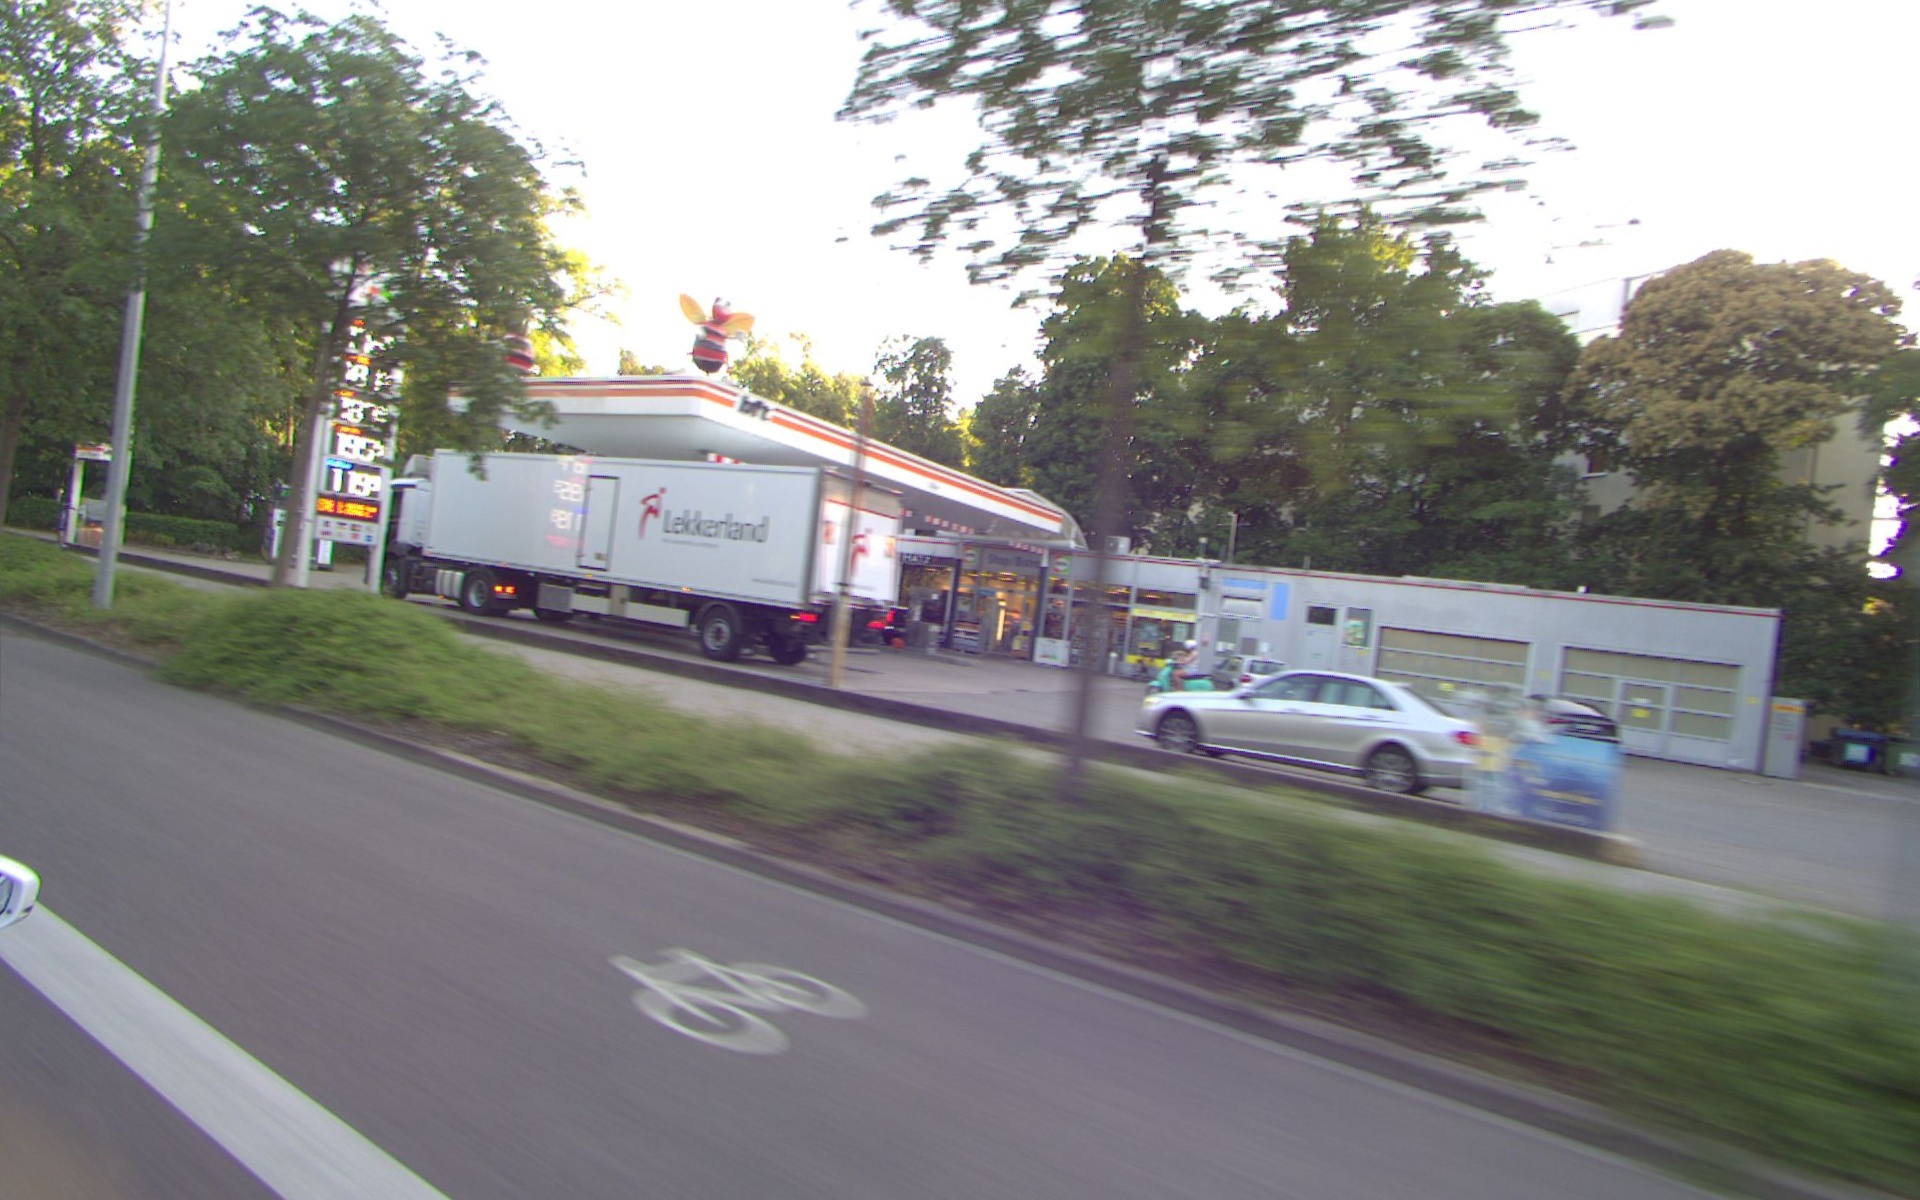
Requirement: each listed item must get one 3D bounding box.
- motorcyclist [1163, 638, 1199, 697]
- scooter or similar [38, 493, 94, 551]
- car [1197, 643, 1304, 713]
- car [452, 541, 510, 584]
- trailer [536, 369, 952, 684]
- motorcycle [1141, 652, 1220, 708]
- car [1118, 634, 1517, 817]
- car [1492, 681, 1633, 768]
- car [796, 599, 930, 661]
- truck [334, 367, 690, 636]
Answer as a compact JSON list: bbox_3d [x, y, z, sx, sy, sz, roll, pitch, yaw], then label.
[{"bbox_3d":[5.772,1.759,26.238,0.684,1.452,0.611,6,0,21],"label":"motorcyclist"},{"bbox_3d":[-22.694,-1.980,25.528,1.444,1.298,0.598,7,0,32],"label":"scooter or similar"},{"bbox_3d":[8.383,2.208,29.408,1.642,1.541,4.129,6,0,-2],"label":"car"},{"bbox_3d":[-24.009,-1.895,50.332,1.875,1.659,4.243,5,3,-35],"label":"car"},{"bbox_3d":[-4.596,-1.603,20.858,7.797,5.528,3.026,8,0,29],"label":"trailer"},{"bbox_3d":[5.751,2.077,26.259,1.829,1.194,0.624,7,0,21],"label":"motorcycle"},{"bbox_3d":[4.792,1.611,13.836,4.743,1.601,1.772,7,-2,35],"label":"car"},{"bbox_3d":[14.889,3.016,25.127,1.641,1.541,4.132,6,0,13],"label":"car"},{"bbox_3d":[-3.607,1.097,36.959,4.549,1.601,1.990,7,-2,35],"label":"car"},{"bbox_3d":[-11.051,-2.492,24.522,8.265,5.522,3.039,8,0,29],"label":"truck"}]
